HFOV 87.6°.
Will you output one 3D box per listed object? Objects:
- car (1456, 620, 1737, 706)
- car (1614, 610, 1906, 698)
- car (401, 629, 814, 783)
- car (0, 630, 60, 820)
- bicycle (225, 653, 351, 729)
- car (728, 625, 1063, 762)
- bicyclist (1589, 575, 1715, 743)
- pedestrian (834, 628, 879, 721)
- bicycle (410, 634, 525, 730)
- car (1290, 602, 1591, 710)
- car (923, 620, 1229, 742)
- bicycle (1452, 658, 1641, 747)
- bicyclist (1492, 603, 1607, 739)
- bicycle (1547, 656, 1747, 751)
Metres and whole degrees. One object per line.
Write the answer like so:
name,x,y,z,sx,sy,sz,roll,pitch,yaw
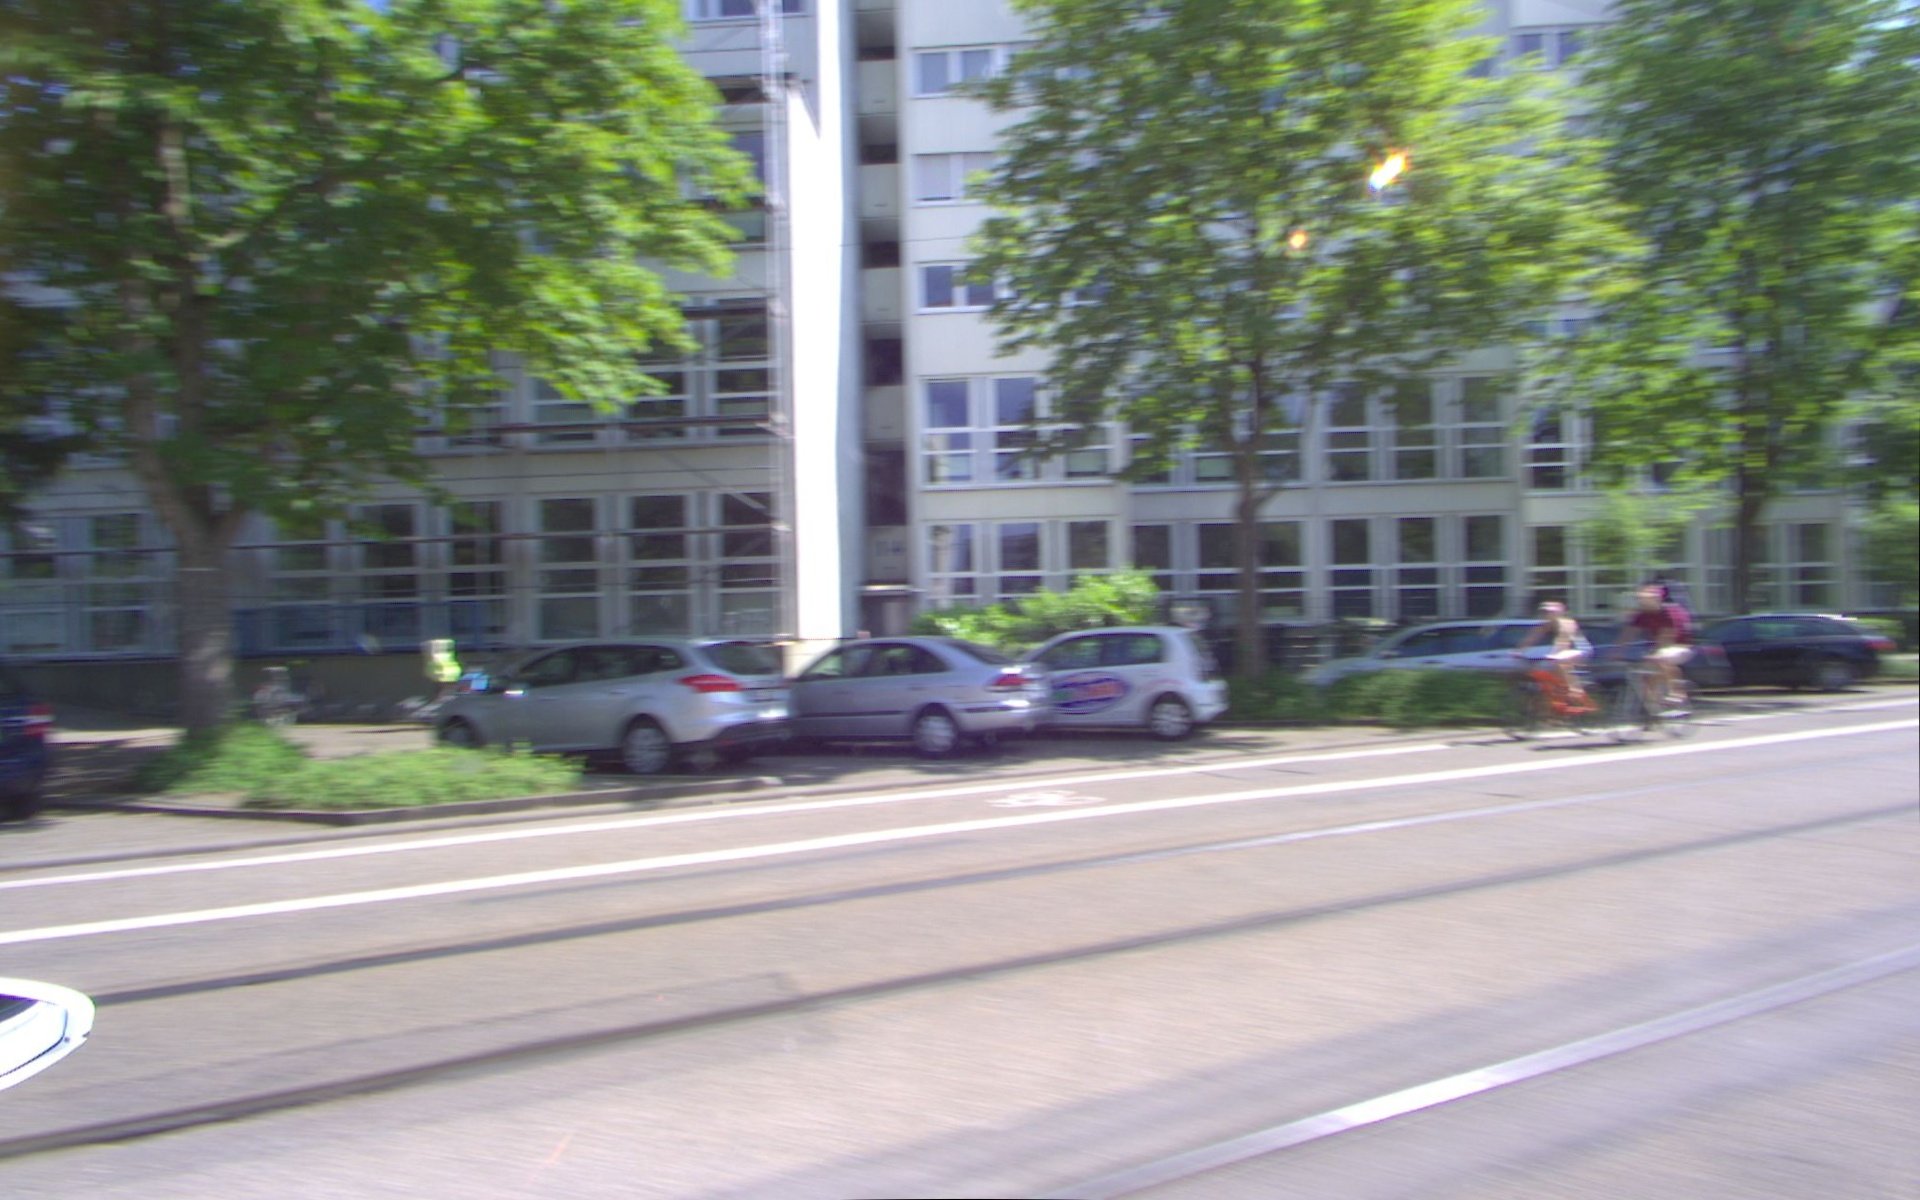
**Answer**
car,10.950,1.090,17.541,3.878,1.374,1.555,-2,-1,22
car,14.557,0.989,18.478,3.878,1.505,1.555,-2,-1,22
car,-4.030,1.133,11.450,4.360,1.505,1.781,-2,-2,22
car,-9.592,1.073,8.486,3.399,1.551,1.573,-2,-1,21
bicycle,-11.008,1.459,16.515,0.729,1.100,2.203,-1,-1,-5
car,-0.813,1.114,12.513,3.880,1.504,1.609,-2,-2,24
bicyclist,7.891,0.653,11.432,0.849,1.824,0.803,-1,-1,-20
pedestrian,-1.705,1.208,16.438,0.611,1.480,0.423,-1,0,-22
bicycle,-8.183,1.324,16.746,0.650,1.472,2.090,-1,-1,8
car,7.722,0.942,16.536,4.268,1.624,1.556,-2,-2,19
car,1.604,1.106,13.875,3.880,1.505,1.609,-3,-1,23
bicycle,7.130,1.215,12.161,2.281,0.929,0.678,-1,-1,-21
bicyclist,7.113,0.834,12.102,0.849,1.562,0.803,-1,-1,-20
bicycle,7.820,1.141,11.389,2.281,0.929,0.678,-1,-1,-21
